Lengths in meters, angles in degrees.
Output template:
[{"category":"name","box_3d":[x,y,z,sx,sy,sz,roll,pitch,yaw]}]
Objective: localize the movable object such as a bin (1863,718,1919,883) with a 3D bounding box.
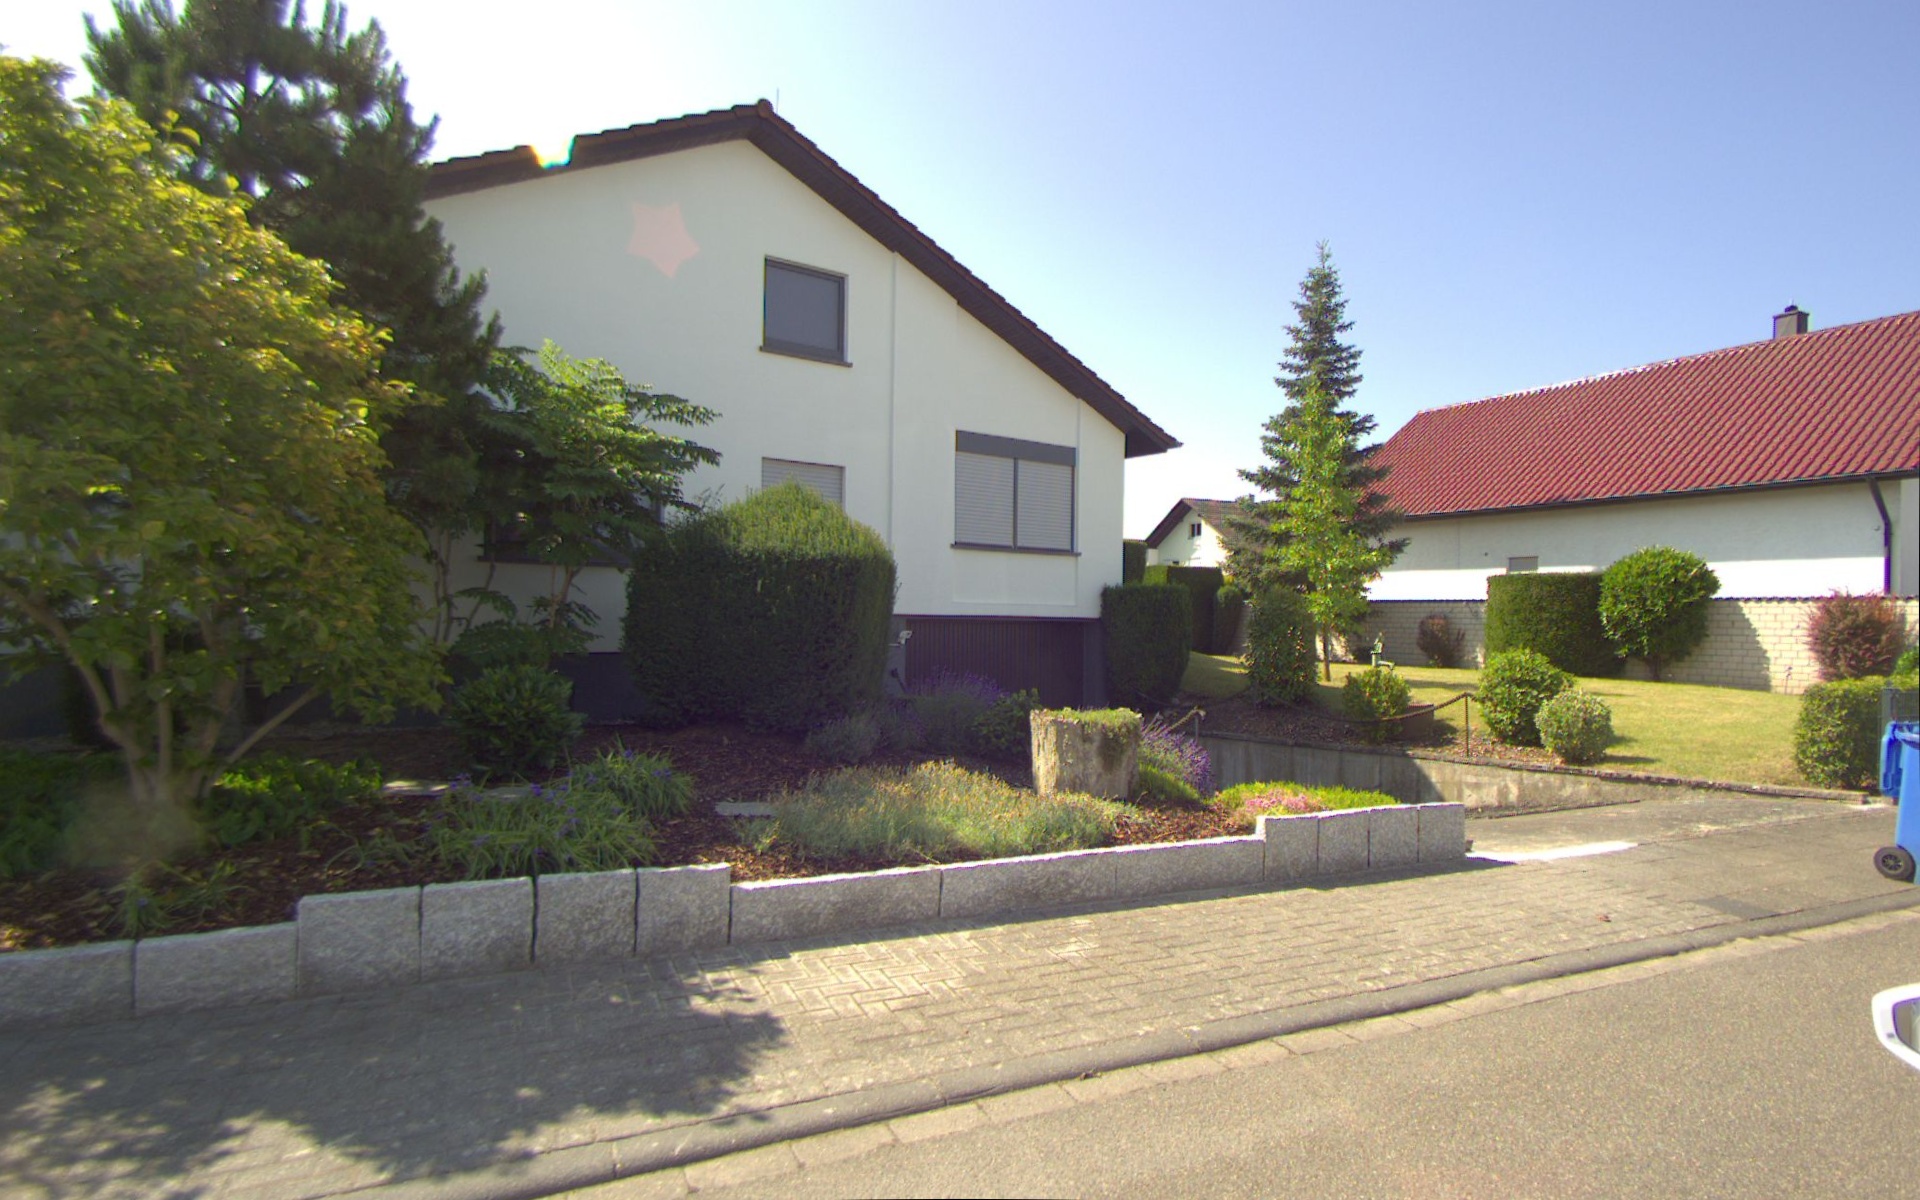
[{"category":"movable object such as a bin","box_3d":[5.972,1.221,6.070,0.590,0.928,0.581,1,0,-26]}]
